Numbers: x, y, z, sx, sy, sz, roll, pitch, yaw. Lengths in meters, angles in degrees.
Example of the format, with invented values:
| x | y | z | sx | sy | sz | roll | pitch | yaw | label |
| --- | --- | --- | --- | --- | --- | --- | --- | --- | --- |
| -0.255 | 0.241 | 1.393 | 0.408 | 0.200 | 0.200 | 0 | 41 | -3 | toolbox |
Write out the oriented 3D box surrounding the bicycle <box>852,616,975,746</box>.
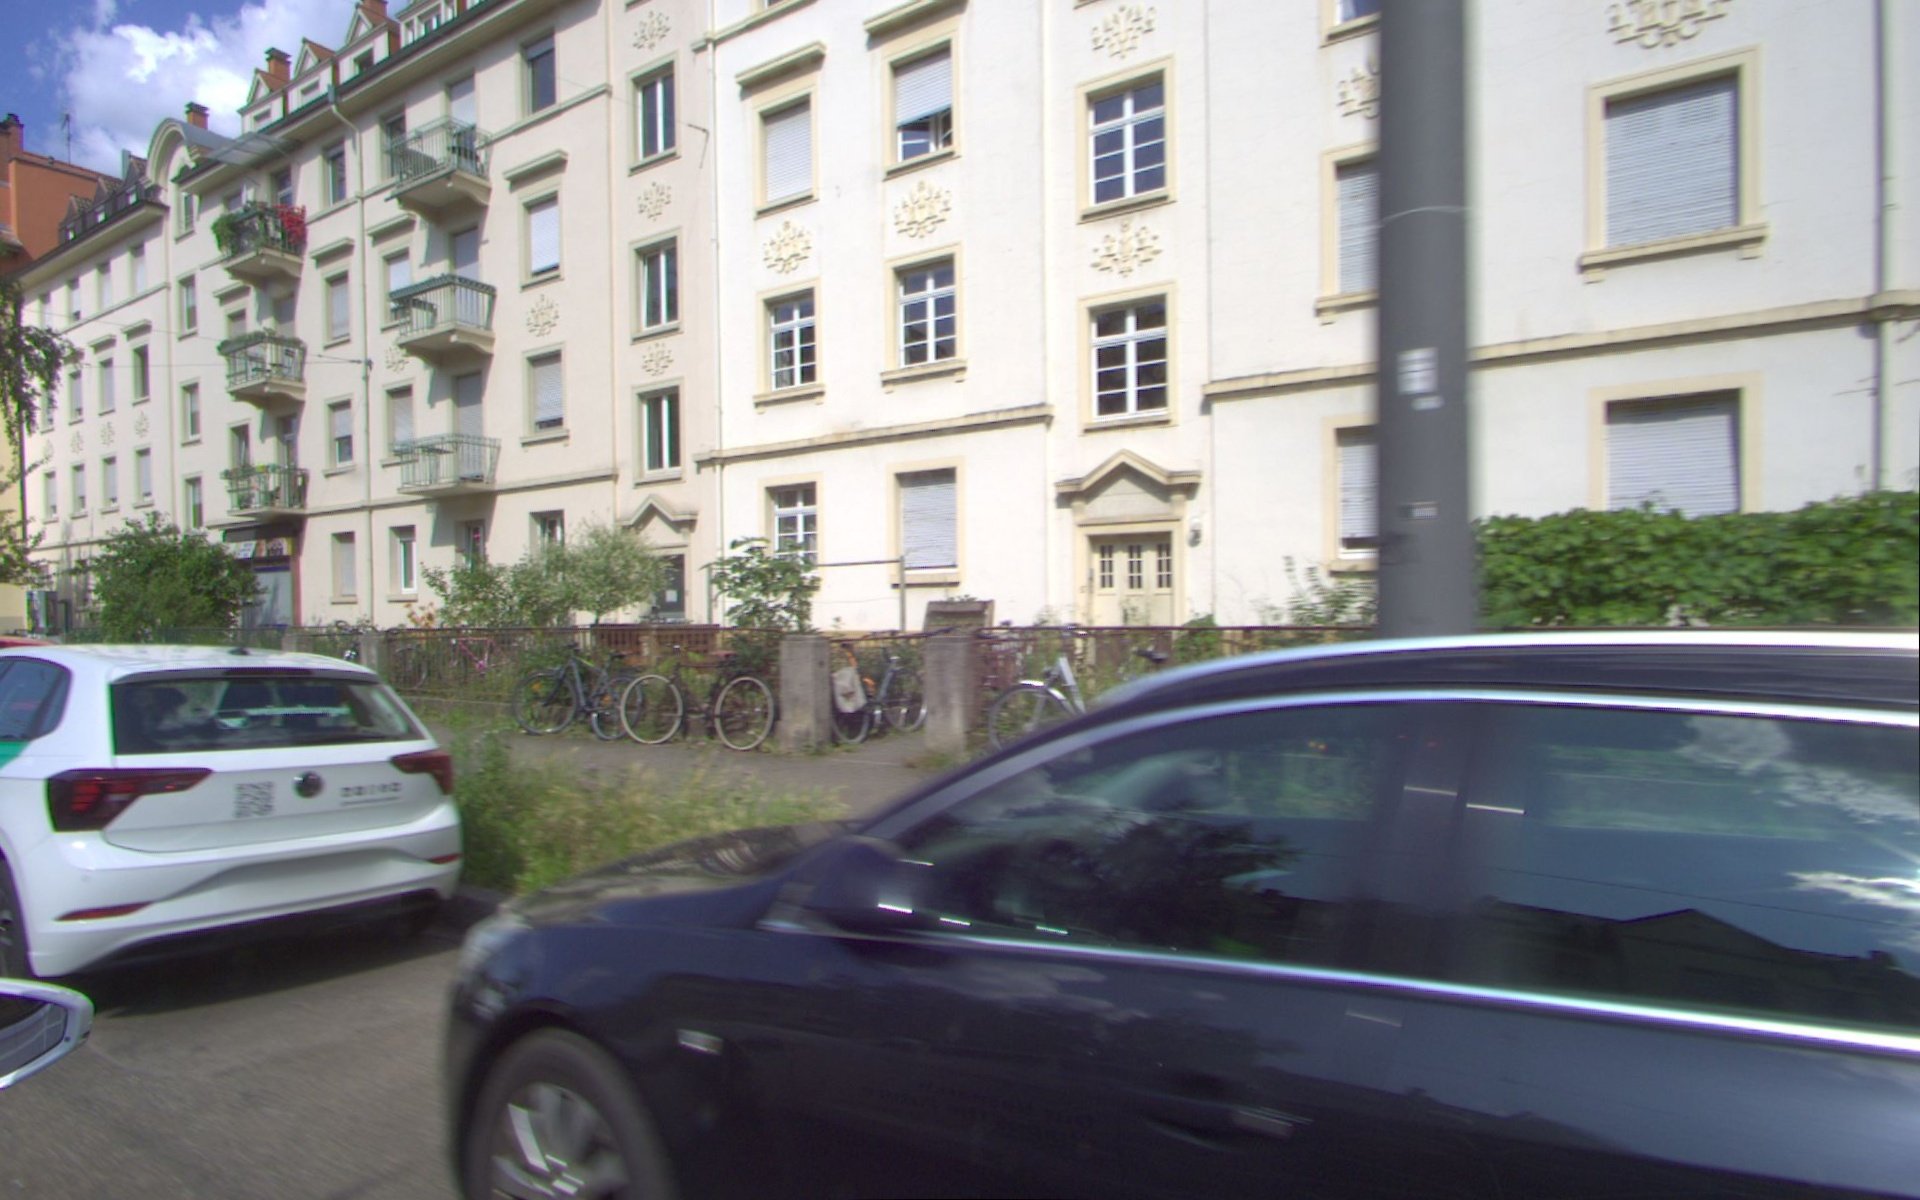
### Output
| x | y | z | sx | sy | sz | roll | pitch | yaw | label |
| --- | --- | --- | --- | --- | --- | --- | --- | --- | --- |
| -0.435 | 0.778 | 10.358 | 0.457 | 1.198 | 1.840 | 0 | 0 | 25 | bicycle |

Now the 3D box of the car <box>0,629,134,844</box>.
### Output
| x | y | z | sx | sy | sz | roll | pitch | yaw | label |
| --- | --- | --- | --- | --- | --- | --- | --- | --- | --- |
| -8.217 | 0.969 | 7.841 | 3.790 | 1.470 | 1.587 | -1 | -4 | 33 | car |

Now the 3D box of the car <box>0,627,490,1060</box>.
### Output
| x | y | z | sx | sy | sz | roll | pitch | yaw | label |
| --- | --- | --- | --- | --- | --- | --- | --- | --- | --- |
| -4.331 | 0.914 | 5.167 | 3.863 | 1.470 | 1.617 | -1 | -4 | 33 | car |

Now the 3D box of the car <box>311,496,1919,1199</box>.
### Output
| x | y | z | sx | sy | sz | roll | pitch | yaw | label |
| --- | --- | --- | --- | --- | --- | --- | --- | --- | --- |
| 0.767 | 0.725 | 2.041 | 4.462 | 1.539 | 1.789 | -1 | -3 | 32 | car |

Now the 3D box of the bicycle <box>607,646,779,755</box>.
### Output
| x | y | z | sx | sy | sz | roll | pitch | yaw | label |
| --- | --- | --- | --- | --- | --- | --- | --- | --- | --- |
| -2.641 | 0.940 | 9.774 | 1.980 | 0.956 | 0.377 | -1 | 0 | 32 | bicycle |

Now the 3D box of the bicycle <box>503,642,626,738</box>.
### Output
| x | y | z | sx | sy | sz | roll | pitch | yaw | label |
| --- | --- | --- | --- | --- | --- | --- | --- | --- | --- |
| -4.277 | 0.943 | 10.789 | 1.563 | 0.951 | 0.386 | -1 | 0 | 33 | bicycle |

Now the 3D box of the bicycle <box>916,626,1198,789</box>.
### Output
| x | y | z | sx | sy | sz | roll | pitch | yaw | label |
| --- | --- | --- | --- | --- | --- | --- | --- | --- | --- |
| 0.676 | 0.747 | 7.569 | 2.153 | 1.091 | 0.470 | -1 | 1 | 34 | bicycle |
